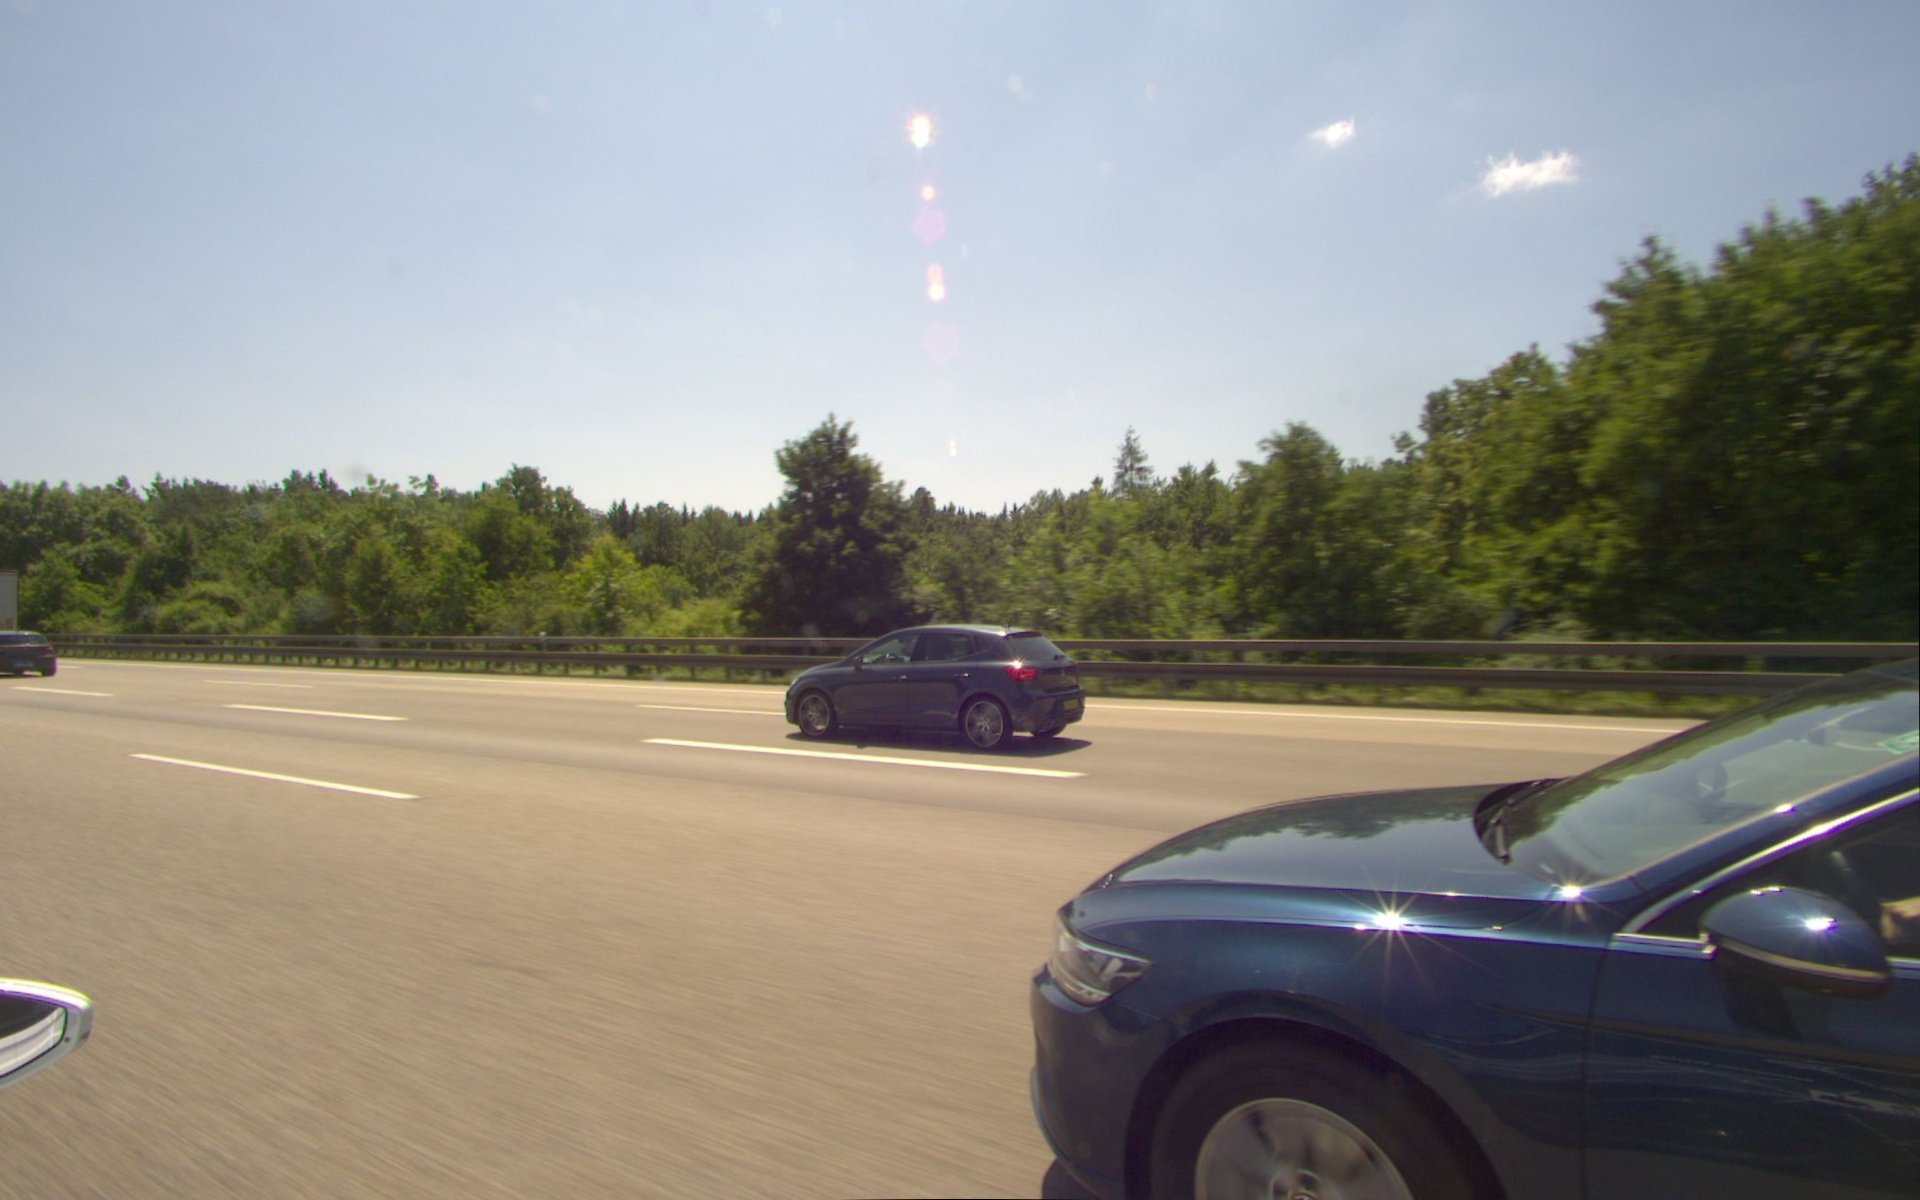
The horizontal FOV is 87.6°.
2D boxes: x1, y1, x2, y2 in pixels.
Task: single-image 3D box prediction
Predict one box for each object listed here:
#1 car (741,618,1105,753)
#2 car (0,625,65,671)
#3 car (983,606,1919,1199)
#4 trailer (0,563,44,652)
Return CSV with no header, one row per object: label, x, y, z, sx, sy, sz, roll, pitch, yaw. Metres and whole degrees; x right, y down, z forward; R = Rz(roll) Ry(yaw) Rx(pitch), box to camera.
car,-0.568,0.978,12.885,4.568,1.457,1.640,0,-1,32
car,-29.698,1.546,31.142,4.230,1.290,1.666,-3,0,32
car,2.568,0.739,1.688,4.891,1.466,1.726,-1,0,33
trailer,-49.238,0.369,48.743,13.688,3.982,3.282,0,-1,32
